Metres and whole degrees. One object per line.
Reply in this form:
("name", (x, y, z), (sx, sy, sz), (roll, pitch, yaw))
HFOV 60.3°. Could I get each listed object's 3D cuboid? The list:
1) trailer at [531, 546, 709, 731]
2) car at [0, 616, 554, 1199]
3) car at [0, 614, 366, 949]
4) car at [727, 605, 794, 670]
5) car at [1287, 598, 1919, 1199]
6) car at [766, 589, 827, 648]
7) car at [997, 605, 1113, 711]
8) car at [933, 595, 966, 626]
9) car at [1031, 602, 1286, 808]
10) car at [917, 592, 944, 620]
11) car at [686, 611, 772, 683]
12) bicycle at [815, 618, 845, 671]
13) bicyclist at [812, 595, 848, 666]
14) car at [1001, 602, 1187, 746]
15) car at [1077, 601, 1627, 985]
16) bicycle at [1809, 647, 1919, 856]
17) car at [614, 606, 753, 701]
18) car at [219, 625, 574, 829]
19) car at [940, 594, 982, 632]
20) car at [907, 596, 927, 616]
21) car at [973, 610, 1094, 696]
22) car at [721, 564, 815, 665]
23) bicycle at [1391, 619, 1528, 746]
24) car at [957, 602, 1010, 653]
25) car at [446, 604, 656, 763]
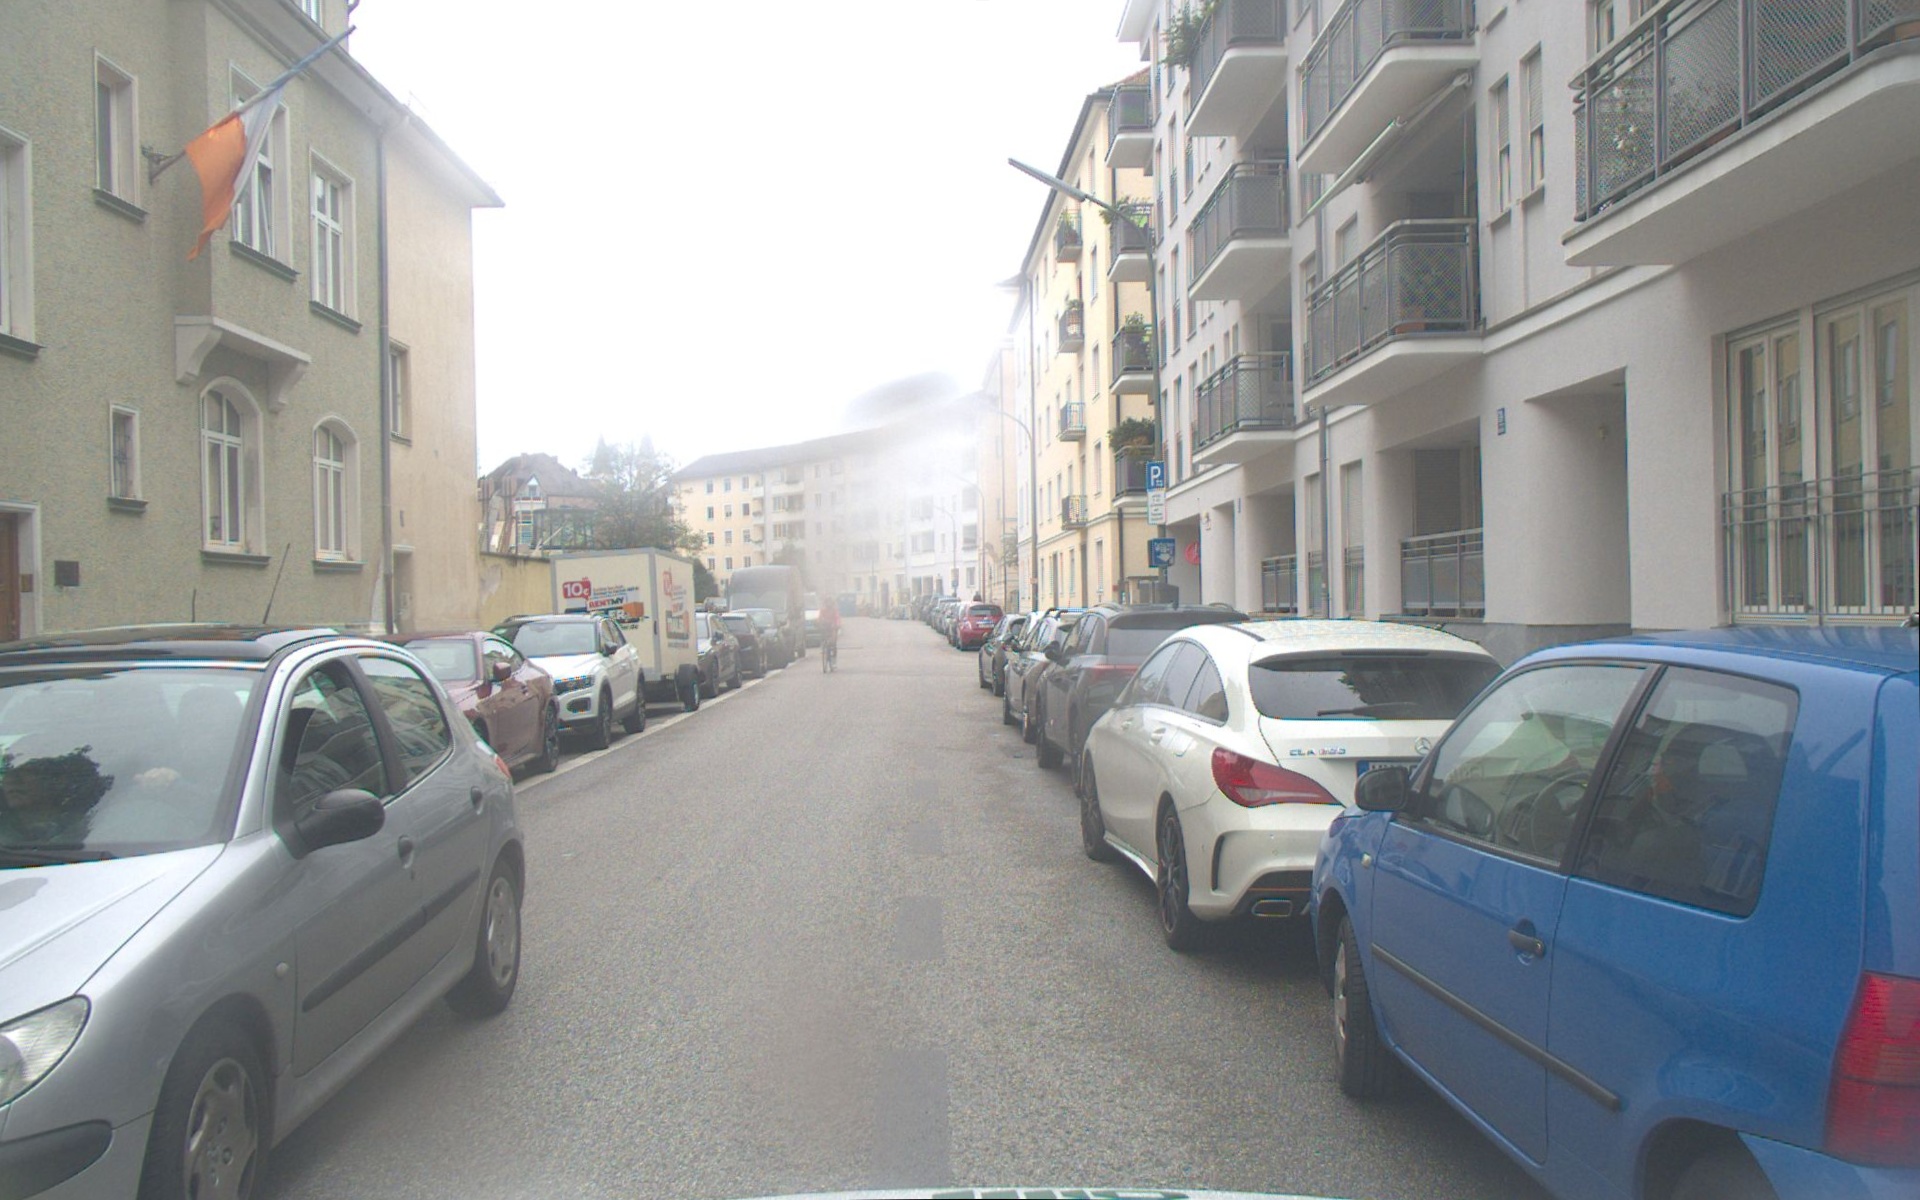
("trailer", (-5.112, 0.529, 25.442), (1.674, 2.504, 4.386), (-3, 0, 0))
("car", (-2.360, 0.787, 4.673), (1.549, 1.436, 3.612), (-2, -1, -1))
("car", (-4.601, 0.866, 9.266), (1.444, 1.492, 3.311), (-3, 0, -3))
("car", (-5.095, 0.939, 42.617), (1.555, 1.565, 3.539), (-2, 0, -5))
("car", (2.050, 0.746, 4.062), (1.586, 1.437, 3.551), (1, -1, -4))
("car", (-5.922, 0.643, 60.448), (1.845, 1.965, 4.599), (-3, 0, -2))
("car", (1.447, 0.861, 26.159), (1.489, 1.557, 3.524), (0, 0, -2))
("car", (-0.596, 0.530, 89.294), (1.559, 1.610, 4.296), (0, 0, -3))
("car", (1.612, 0.814, 14.699), (1.572, 1.557, 3.982), (1, 0, -3))
("car", (-1.805, 0.348, 99.473), (1.444, 1.669, 3.998), (0, 0, -3))
("car", (-5.201, 1.023, 37.591), (1.667, 1.471, 3.822), (0, 1, -4))
("bicycle", (-3.011, 1.023, 38.380), (0.494, 1.148, 1.773), (-2, 0, 1))
("bicyclist", (-3.016, 0.703, 38.395), (0.680, 1.589, 0.967), (-2, 0, 1))
("car", (1.548, 0.830, 20.632), (1.699, 1.557, 4.618), (1, 0, -3))
("car", (1.679, 0.757, 8.514), (1.625, 1.465, 4.204), (1, 0, -3))
("bicycle", (5.171, 0.765, 8.410), (0.664, 1.046, 1.833), (-1, -2, -3))
("car", (-5.130, 0.947, 31.259), (1.730, 1.565, 4.541), (-3, 0, 1))
("car", (-4.788, 0.996, 14.746), (1.824, 1.437, 4.330), (-3, -1, -3))
("car", (0.018, 0.529, 69.916), (1.567, 1.517, 3.797), (-1, 1, -3))
("car", (-2.883, 0.414, 111.009), (1.247, 1.321, 2.795), (-1, 0, -3))
("car", (1.274, 0.923, 30.224), (1.728, 1.432, 4.075), (-1, -1, -4))
("car", (-5.450, 0.366, 47.681), (2.045, 2.682, 5.376), (-1, 1, 0))
("bicycle", (5.071, 0.806, 16.944), (0.615, 1.180, 2.126), (-2, 0, -4))
("car", (0.733, 0.869, 54.101), (1.563, 1.535, 3.799), (-1, 0, -2))
("car", (-4.824, 0.911, 20.036), (1.653, 1.631, 3.919), (-3, 0, -3))
